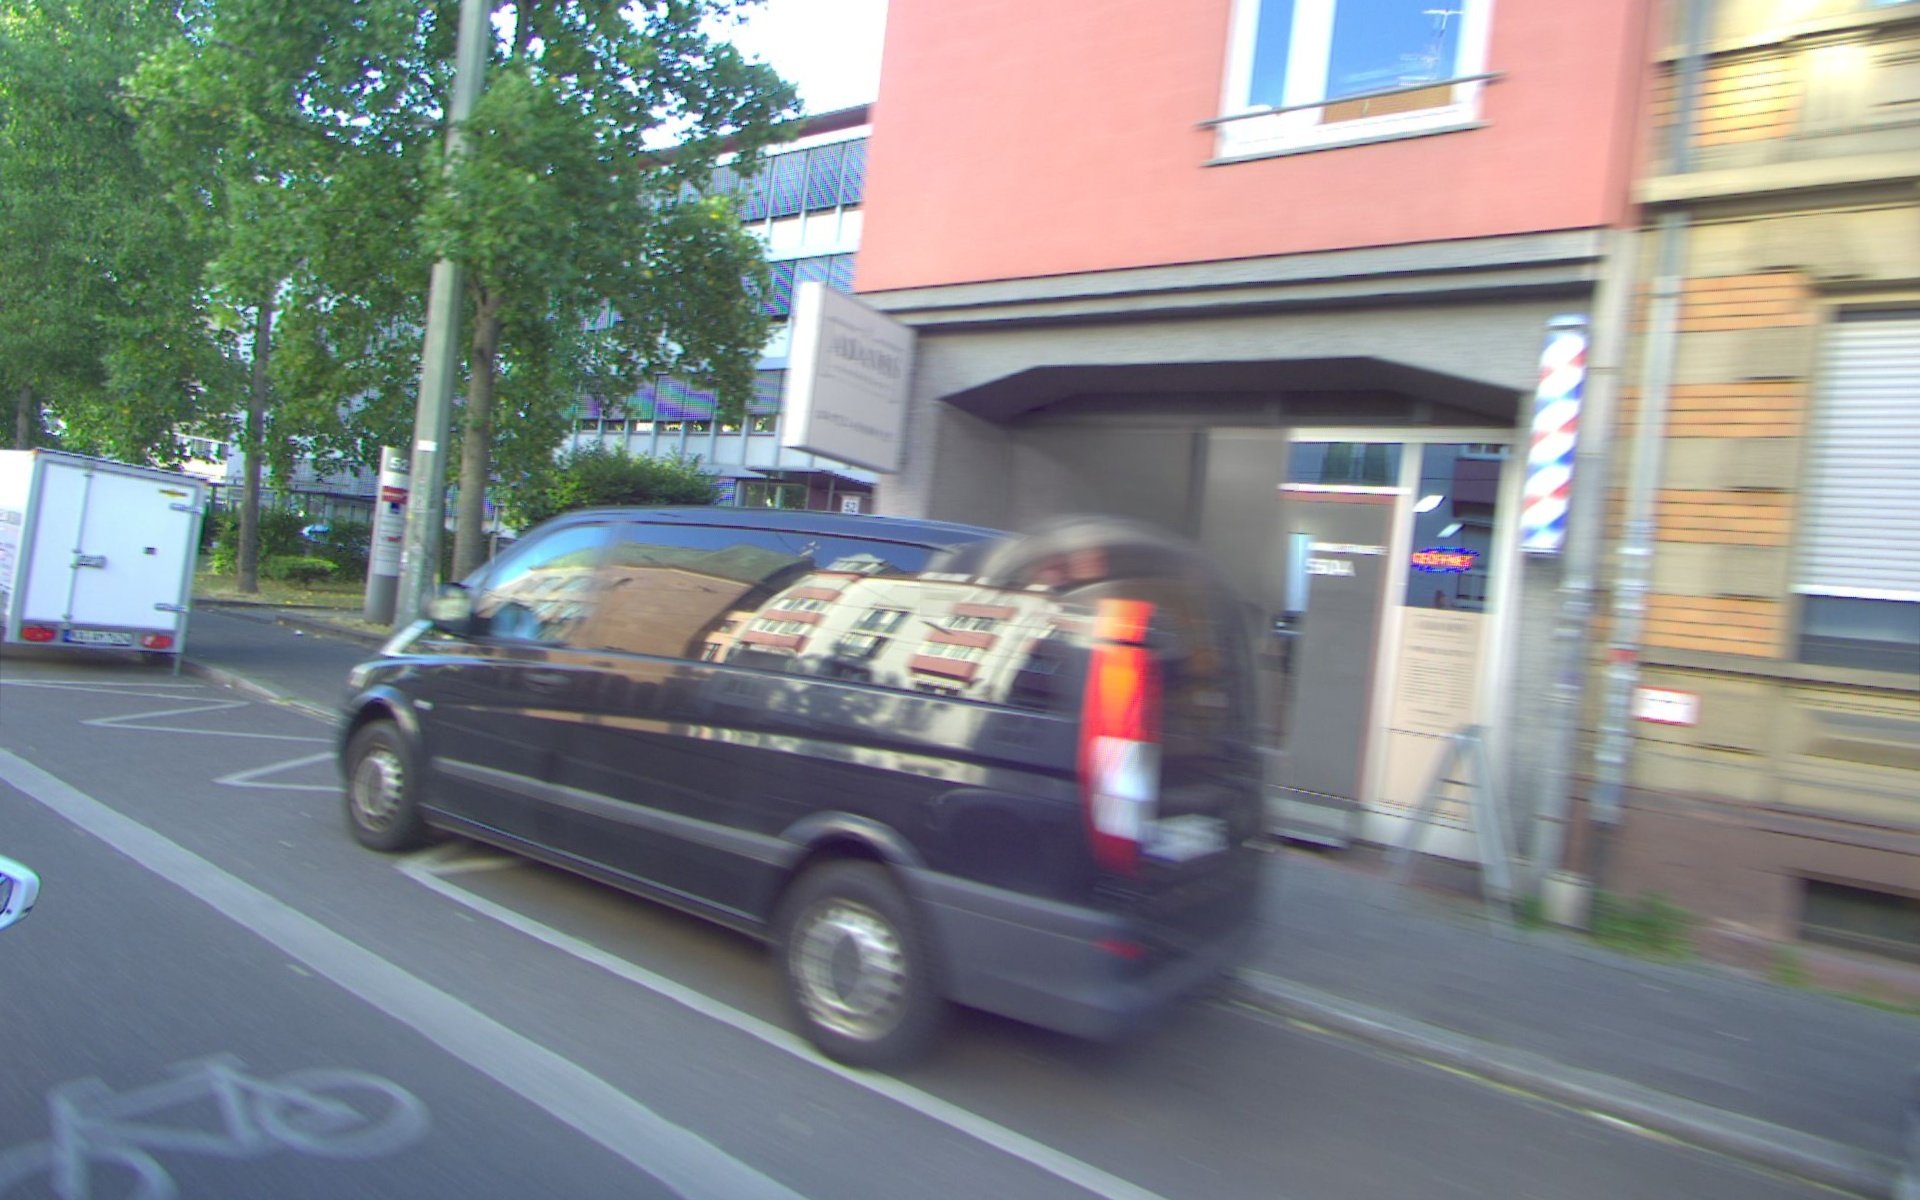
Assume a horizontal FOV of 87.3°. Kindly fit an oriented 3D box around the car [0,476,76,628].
[{"bbox_3d":[-14.111,-0.873,13.414,5.096,1.808,1.953,6,-2,32],"label":"car"}]

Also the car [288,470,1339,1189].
[{"bbox_3d":[-1.012,0.546,4.947,4.909,1.890,1.958,6,-2,34],"label":"car"}]

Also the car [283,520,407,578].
[{"bbox_3d":[-21.801,-1.822,35.614,4.363,1.513,1.867,8,1,31],"label":"car"}]

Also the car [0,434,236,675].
[{"bbox_3d":[-9.657,-0.500,10.904,3.649,2.145,1.706,6,-1,36],"label":"car"}]

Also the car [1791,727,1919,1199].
[{"bbox_3d":[4.166,1.287,1.699,3.895,1.513,1.734,6,-2,31],"label":"car"}]
